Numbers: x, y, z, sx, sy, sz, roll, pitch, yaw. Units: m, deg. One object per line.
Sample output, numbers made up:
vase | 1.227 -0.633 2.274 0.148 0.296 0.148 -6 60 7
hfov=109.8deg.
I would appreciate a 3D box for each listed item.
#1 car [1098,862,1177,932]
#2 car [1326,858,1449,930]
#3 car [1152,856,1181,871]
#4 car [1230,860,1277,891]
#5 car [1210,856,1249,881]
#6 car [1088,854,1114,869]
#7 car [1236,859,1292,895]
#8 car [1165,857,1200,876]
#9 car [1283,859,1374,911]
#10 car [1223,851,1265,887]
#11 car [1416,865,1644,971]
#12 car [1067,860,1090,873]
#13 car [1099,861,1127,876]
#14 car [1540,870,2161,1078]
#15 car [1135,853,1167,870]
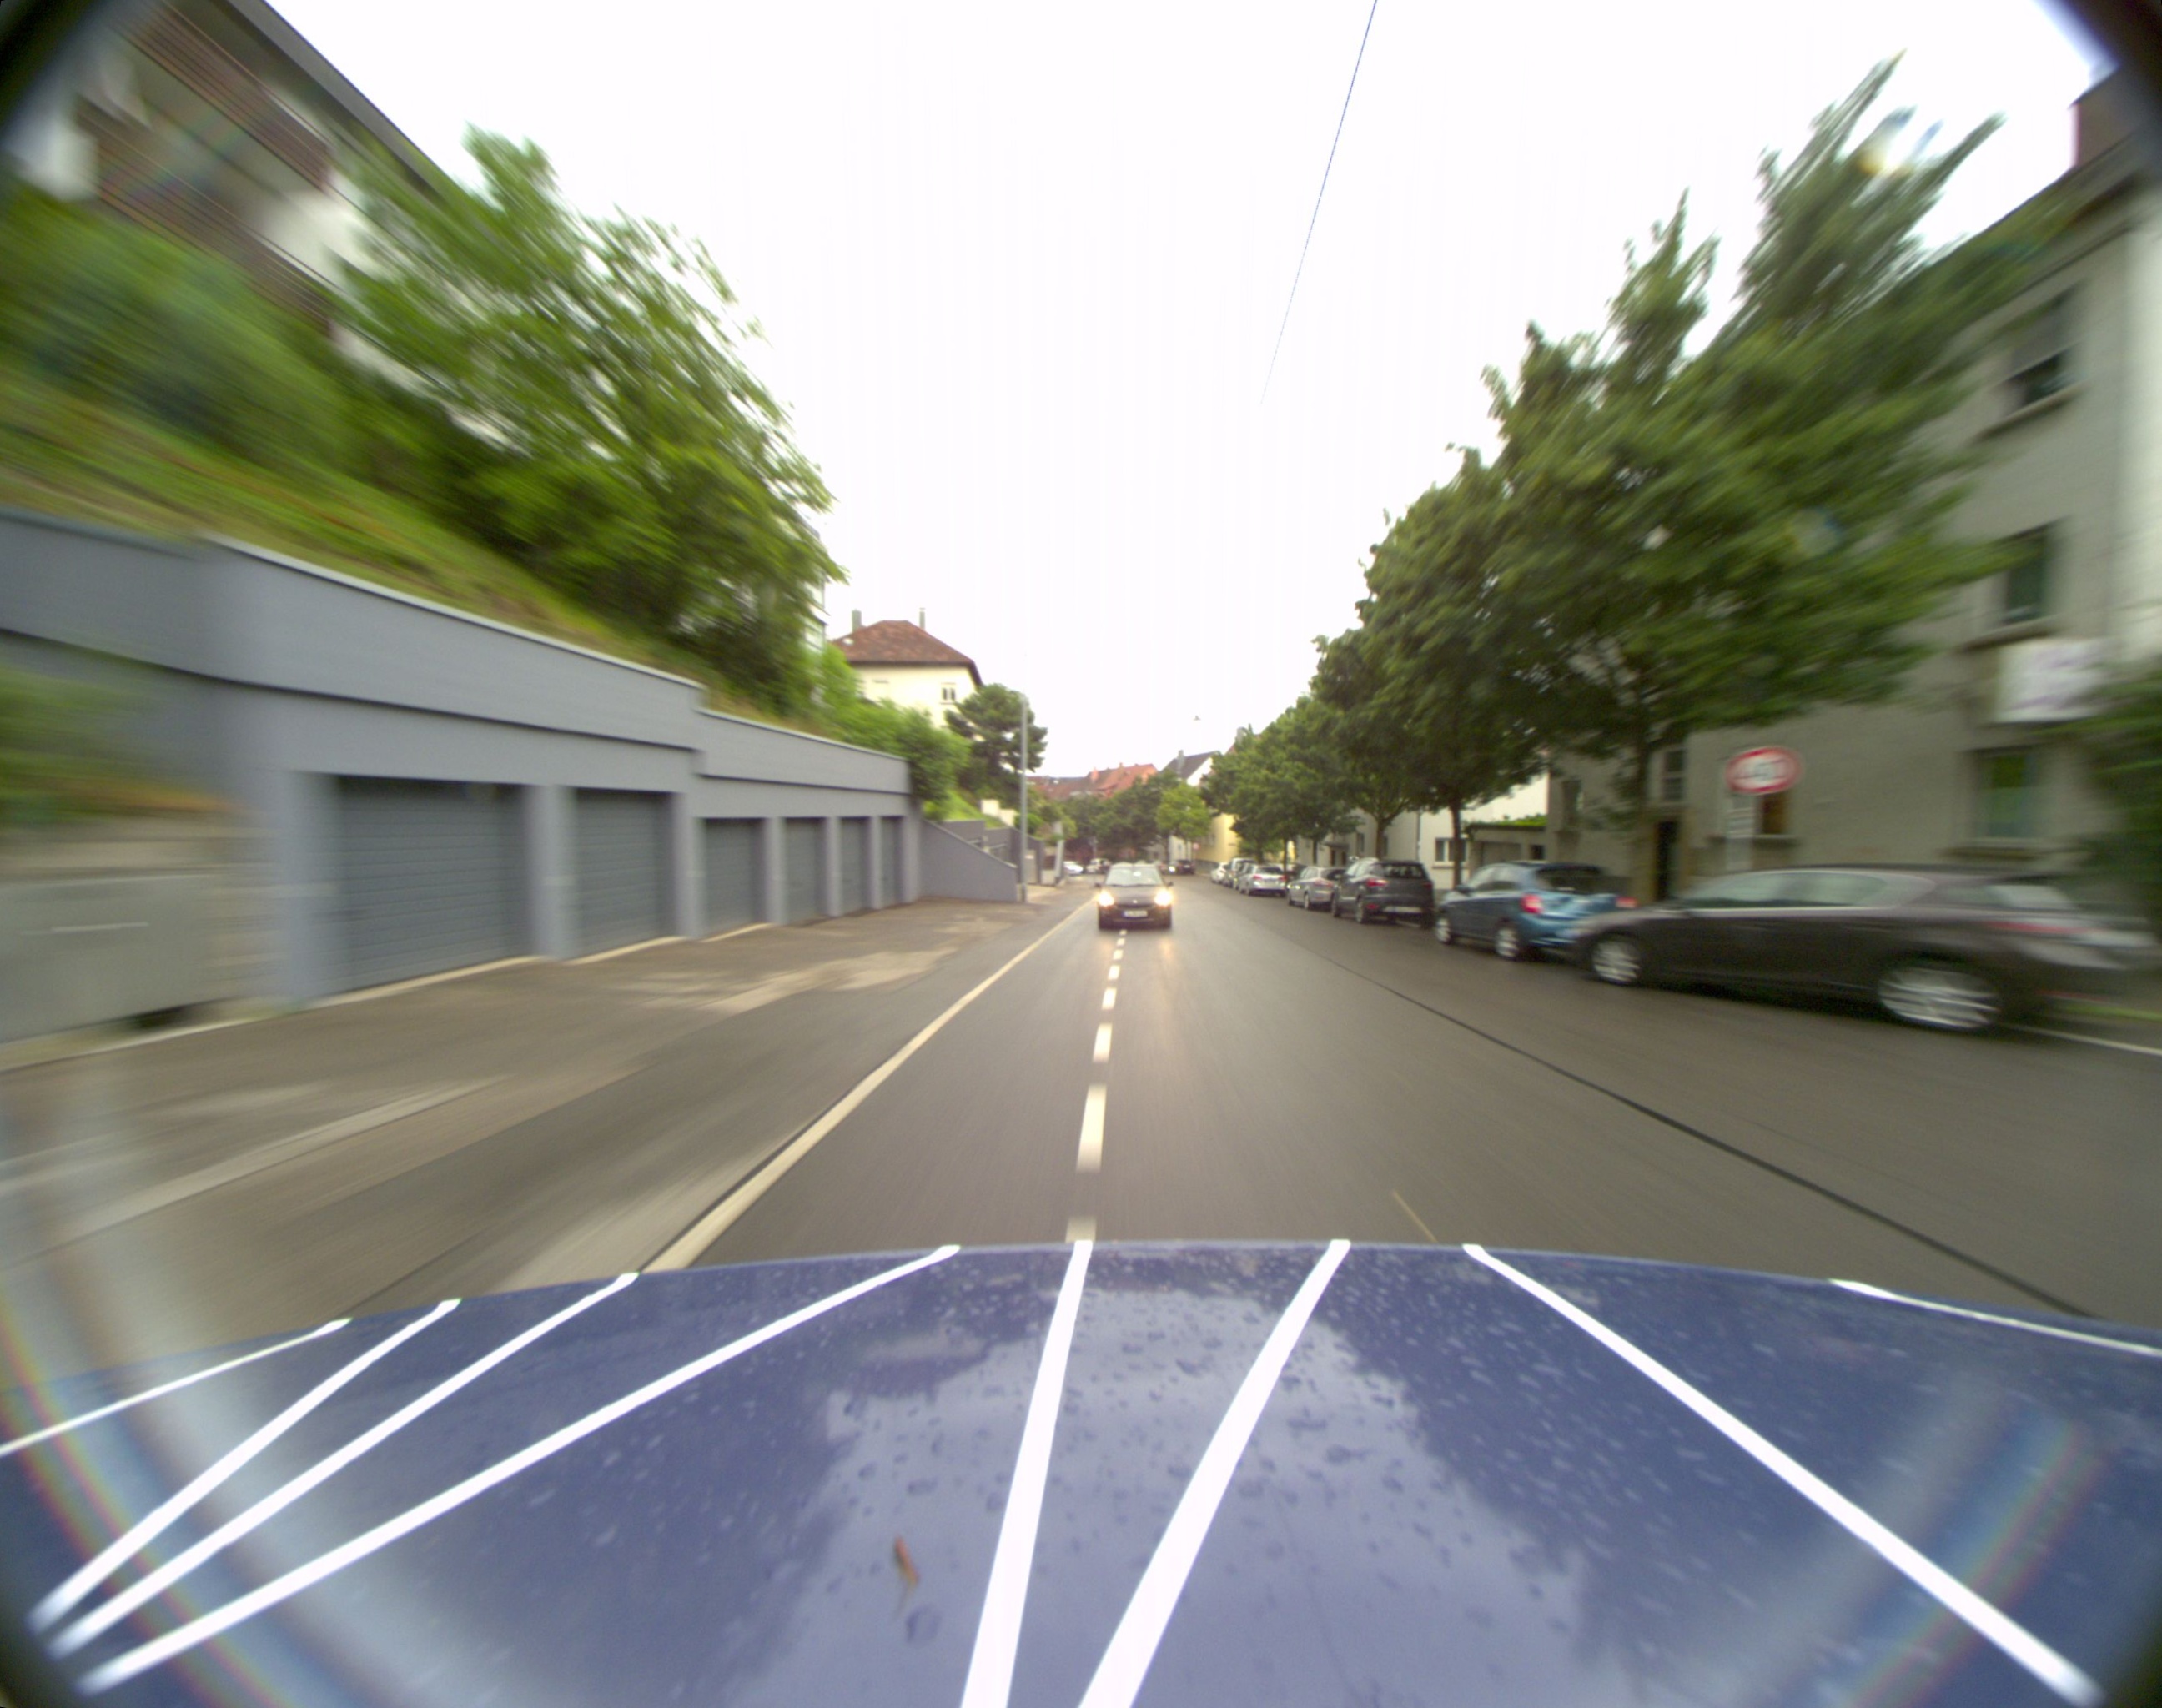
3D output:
car | 1.279 0.970 18.567 1.698 1.456 4.000 -1 0 1
car | 7.926 0.950 20.063 1.808 1.617 4.140 -1 0 4
car | 8.290 0.909 73.746 1.619 1.388 4.319 -2 0 -10
car | 9.632 1.170 42.677 1.809 1.477 4.236 2 1 3
car | 10.415 1.019 53.614 1.789 1.506 4.344 2 2 -1
car | 2.477 0.935 95.500 1.861 1.766 4.476 -2 0 -18
car | 8.747 1.054 36.597 1.809 1.445 4.597 -2 1 4
car | 9.232 1.113 69.382 1.781 1.531 4.512 -3 1 -10
car | 8.315 0.993 25.951 1.808 1.543 4.802 2 0 4
car | 10.189 0.883 47.743 1.918 1.990 4.548 -2 1 4
car | 7.172 0.939 12.644 1.716 1.454 3.883 -2 -1 5
car | -0.407 1.735 103.954 1.754 1.680 4.593 -2 0 -18
car | 3.756 1.672 89.855 1.861 1.658 4.581 -2 0 -16
car | 7.414 0.928 7.880 2.002 1.383 4.189 -1 1 -22
car | 7.232 0.778 79.154 1.861 1.680 4.549 -1 0 -16
